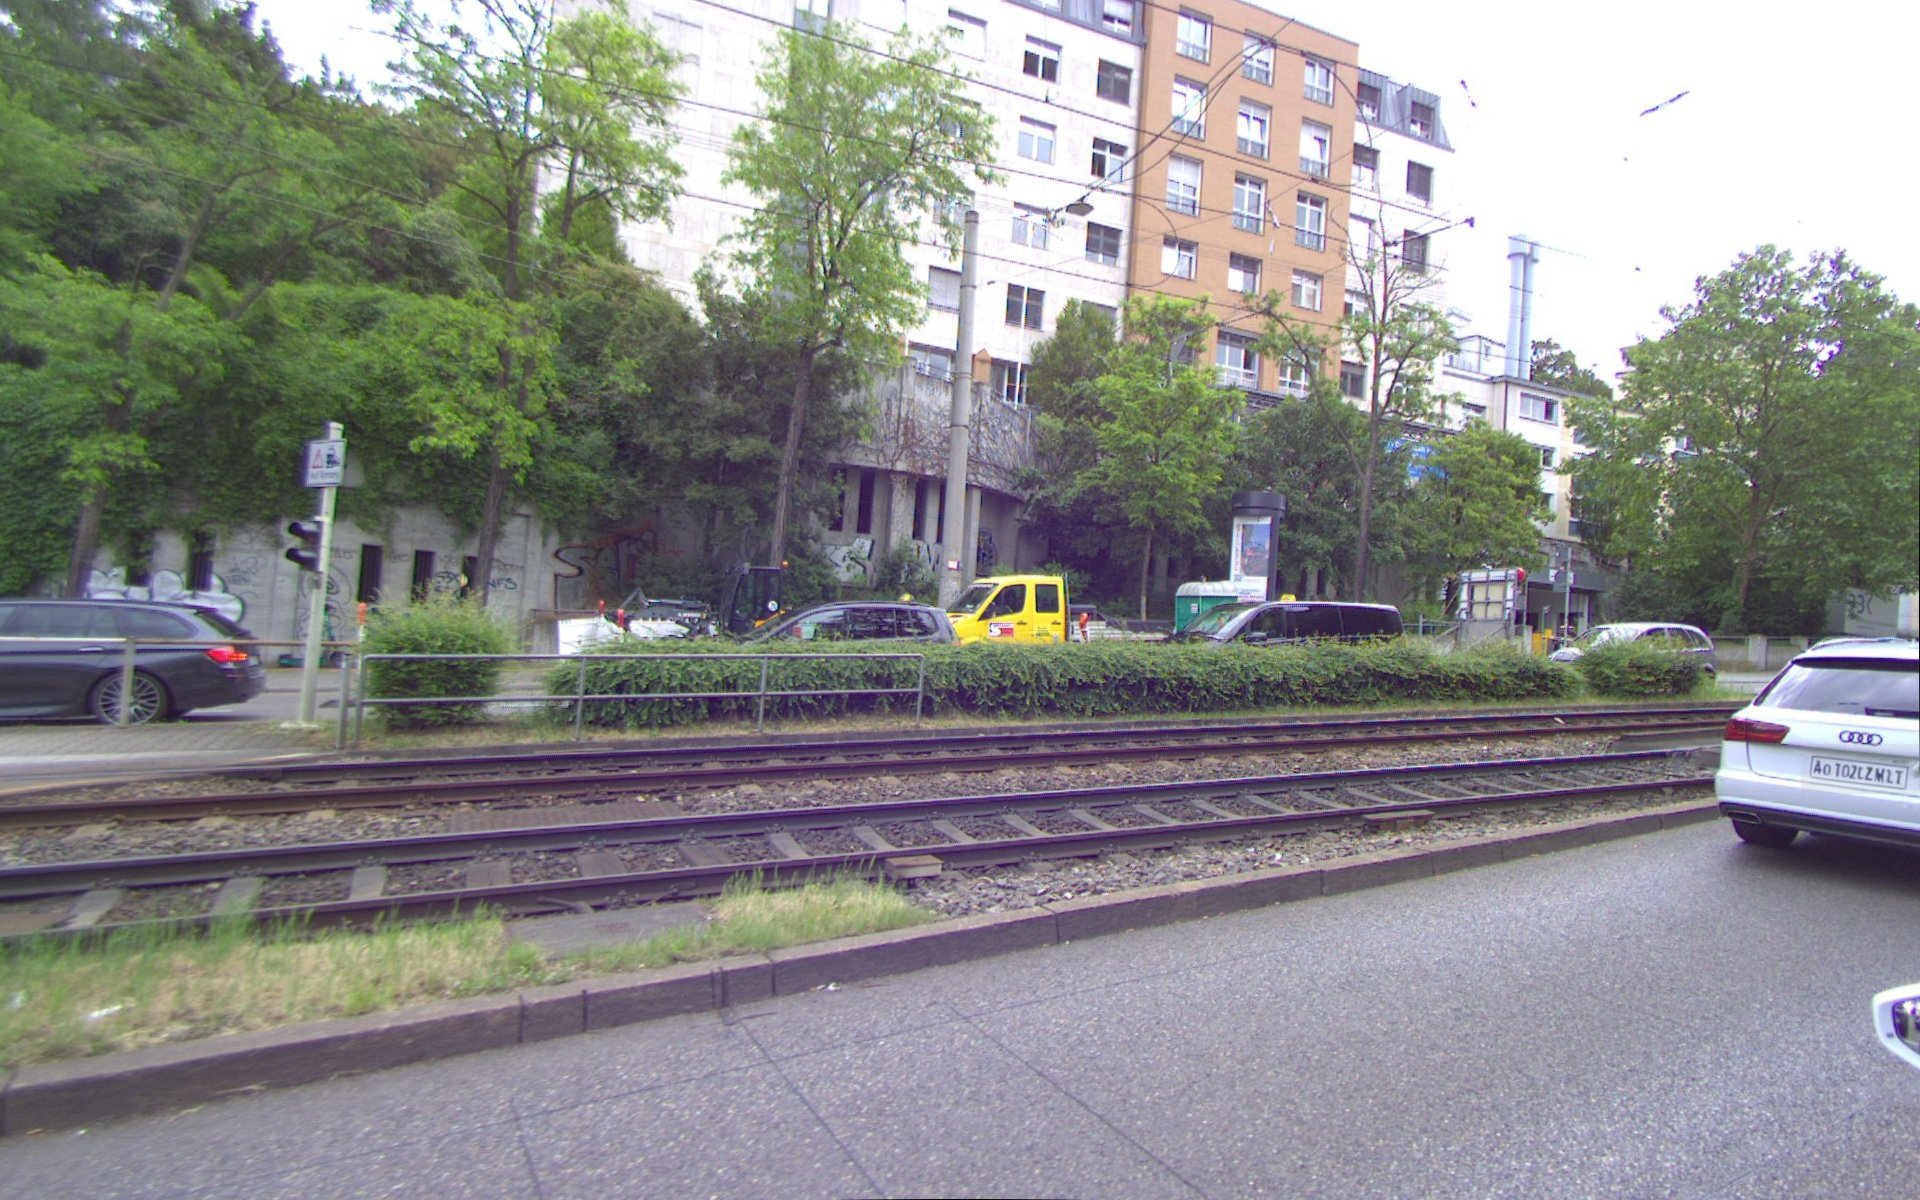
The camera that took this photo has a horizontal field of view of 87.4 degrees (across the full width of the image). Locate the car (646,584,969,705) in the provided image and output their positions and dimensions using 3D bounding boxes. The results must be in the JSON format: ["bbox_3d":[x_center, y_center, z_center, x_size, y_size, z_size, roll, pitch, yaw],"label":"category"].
[{"bbox_3d":[-2.335,0.676,15.474,4.556,1.626,1.988,1,-2,-25],"label":"car"}]

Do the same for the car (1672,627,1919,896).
[{"bbox_3d":[7.141,0.977,7.074,4.566,1.474,1.869,2,-1,-32],"label":"car"}]

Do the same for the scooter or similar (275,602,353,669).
[{"bbox_3d":[-12.923,0.697,20.119,1.280,1.307,0.424,1,-1,-37],"label":"scooter or similar"}]

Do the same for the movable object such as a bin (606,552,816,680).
[{"bbox_3d":[-5.264,0.336,21.227,4.039,2.501,1.928,1,1,-23],"label":"movable object such as a bin"}]

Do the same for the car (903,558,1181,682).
[{"bbox_3d":[1.958,0.516,23.631,6.246,2.628,2.152,1,-1,-23],"label":"car"}]

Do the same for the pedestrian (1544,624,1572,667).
[{"bbox_3d":[27.685,2.103,46.502,0.781,1.936,0.811,1,-1,-20],"label":"pedestrian"}]

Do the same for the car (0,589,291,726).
[{"bbox_3d":[-10.684,0.653,11.478,4.781,1.454,1.876,2,-3,-26],"label":"car"}]

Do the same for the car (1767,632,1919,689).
[{"bbox_3d":[23.675,1.588,26.751,4.025,1.426,1.762,1,-2,-24],"label":"car"}]

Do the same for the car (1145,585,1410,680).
[{"bbox_3d":[5.978,0.629,18.922,4.541,1.626,1.990,1,-2,-21],"label":"car"}]

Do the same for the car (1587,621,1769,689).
[{"bbox_3d":[16.527,1.242,23.130,3.683,1.462,1.657,1,-1,-20],"label":"car"}]

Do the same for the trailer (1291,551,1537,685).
[{"bbox_3d":[11.019,0.469,24.385,5.503,3.013,2.017,2,0,-19],"label":"trailer"}]
